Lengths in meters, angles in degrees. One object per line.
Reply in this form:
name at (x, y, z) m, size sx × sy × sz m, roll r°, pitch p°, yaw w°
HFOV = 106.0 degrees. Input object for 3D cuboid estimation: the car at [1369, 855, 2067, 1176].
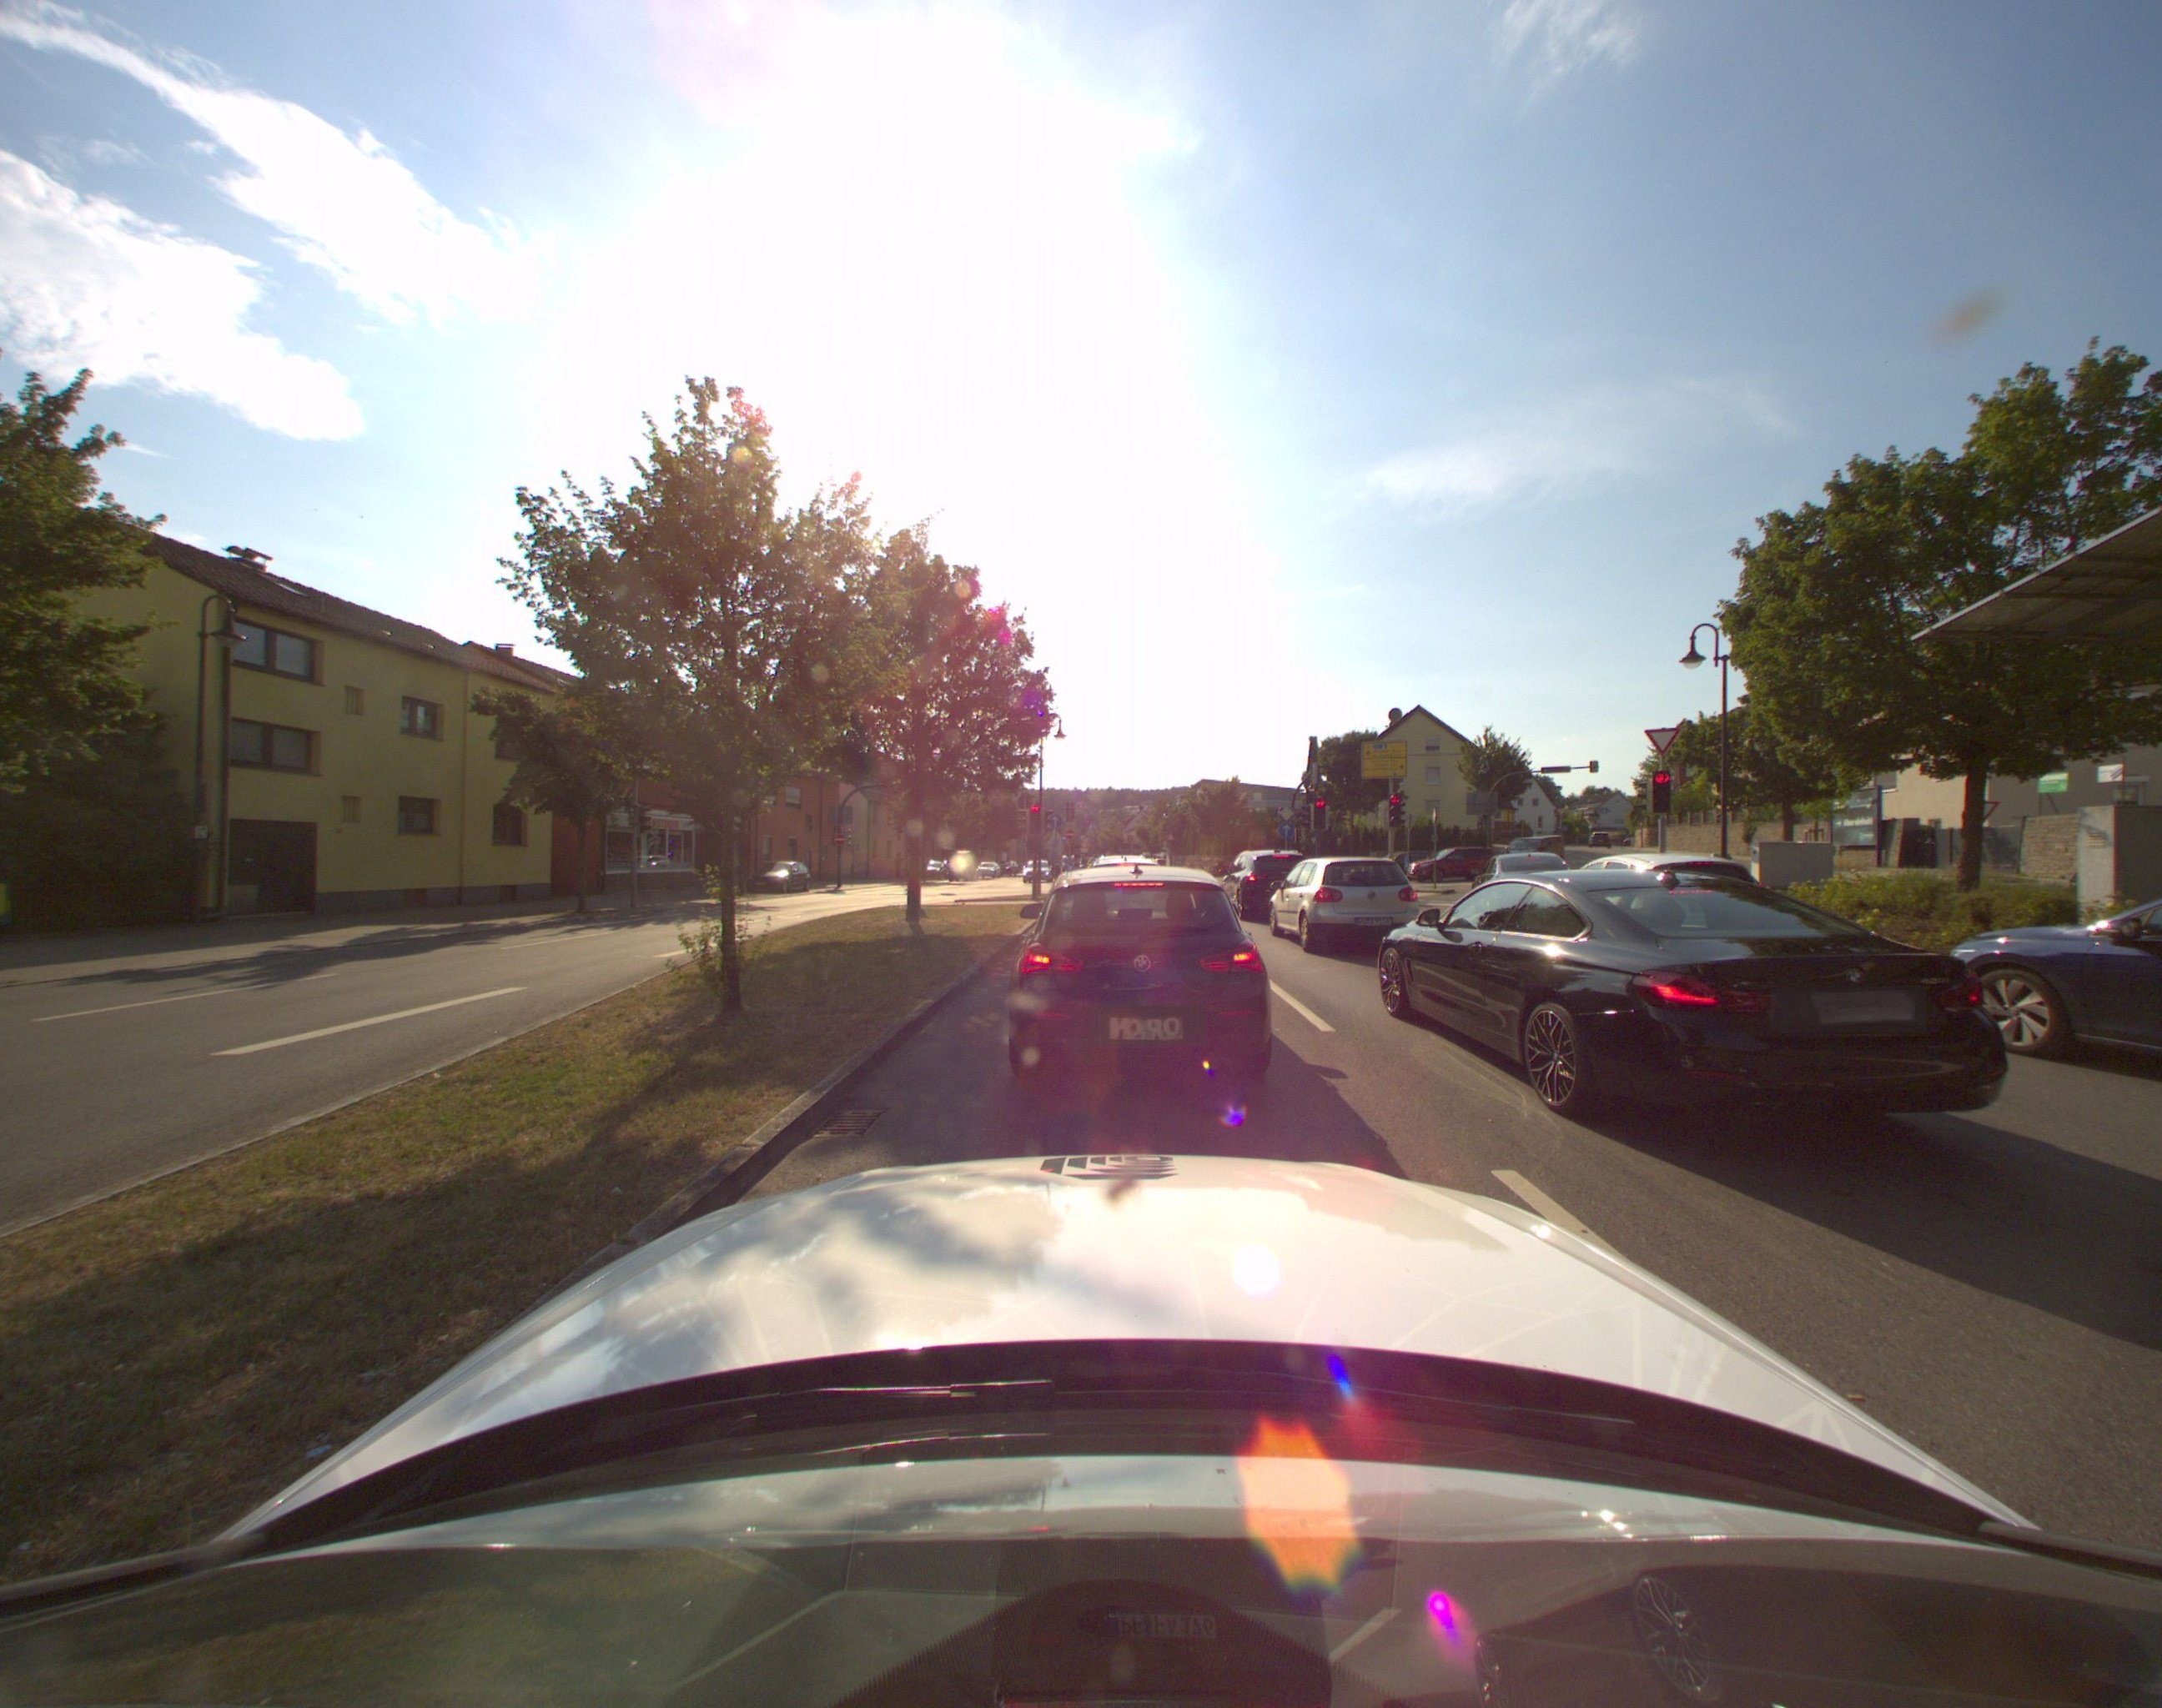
car at (3.626, 0.737, 5.825) m, size 1.755 × 1.397 × 4.283 m, roll -2°, pitch 0°, yaw 2°

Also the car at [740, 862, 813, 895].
car at (-14.132, 1.107, 38.034) m, size 1.730 × 1.301 × 4.002 m, roll 4°, pitch 0°, yaw 2°

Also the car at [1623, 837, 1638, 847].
car at (93.789, -2.071, 139.057) m, size 1.945 × 1.680 × 4.242 m, roll -2°, pitch 0°, yaw 33°

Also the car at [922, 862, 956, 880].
car at (-11.738, 1.416, 67.596) m, size 1.728 × 1.301 × 4.006 m, roll 4°, pitch 0°, yaw 6°

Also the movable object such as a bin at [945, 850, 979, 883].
movable object such as a bin at (-9.211, 0.964, 63.123) m, size 1.729 × 2.442 × 4.452 m, roll -1°, pitch 0°, yaw 3°

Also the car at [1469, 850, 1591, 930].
car at (9.888, 0.711, 18.240) m, size 1.642 × 1.542 × 4.420 m, roll -2°, pitch 0°, yaw 19°

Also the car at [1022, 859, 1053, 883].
car at (-2.946, 1.132, 55.688) m, size 1.832 × 1.482 × 4.001 m, roll -1°, pitch 0°, yaw 1°

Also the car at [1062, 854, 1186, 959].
car at (0.725, 0.777, 14.114) m, size 1.781 × 1.494 × 4.283 m, roll -2°, pitch 0°, yaw 2°

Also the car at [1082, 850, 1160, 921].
car at (1.027, 0.736, 21.153) m, size 1.781 × 1.594 × 4.283 m, roll -2°, pitch 0°, yaw 2°

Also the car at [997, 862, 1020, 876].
car at (-7.638, 1.605, 86.574) m, size 1.729 × 1.301 × 3.804 m, roll 4°, pitch 0°, yaw 5°

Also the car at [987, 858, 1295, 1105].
car at (0.448, 0.769, 6.969) m, size 1.781 × 1.397 × 4.283 m, roll -2°, pitch 0°, yaw 2°

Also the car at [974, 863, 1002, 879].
car at (-8.584, 1.513, 75.559) m, size 1.729 × 1.301 × 3.804 m, roll 4°, pitch 0°, yaw 5°

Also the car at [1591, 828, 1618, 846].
car at (52.680, -1.675, 82.013) m, size 1.946 × 1.680 × 4.241 m, roll -2°, pitch 0°, yaw 28°

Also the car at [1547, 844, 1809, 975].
car at (8.117, 0.668, 11.466) m, size 1.608 × 1.542 × 3.326 m, roll -2°, pitch 0°, yaw 9°

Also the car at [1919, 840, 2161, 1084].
car at (7.401, 0.650, 4.249) m, size 1.754 × 1.453 × 4.323 m, roll -2°, pitch 0°, yaw 4°

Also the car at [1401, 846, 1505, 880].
car at (18.549, 0.452, 40.695) m, size 4.410 × 1.641 × 1.845 m, roll 0°, pitch 0°, yaw -6°

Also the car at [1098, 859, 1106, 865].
car at (5.546, 2.108, 217.382) m, size 1.729 × 1.301 × 3.804 m, roll 4°, pitch 0°, yaw 5°

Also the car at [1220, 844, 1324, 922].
car at (4.575, 0.646, 20.047) m, size 1.755 × 1.656 × 3.905 m, roll -2°, pitch 0°, yaw 2°

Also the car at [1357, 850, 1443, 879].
car at (17.352, 0.567, 44.362) m, size 3.974 × 1.489 × 1.848 m, roll 0°, pitch 0°, yaw -1°

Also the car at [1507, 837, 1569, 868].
car at (26.843, -0.092, 47.767) m, size 4.811 × 1.739 × 1.826 m, roll 0°, pitch 0°, yaw -43°

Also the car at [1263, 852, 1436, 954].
car at (4.328, 0.713, 13.765) m, size 1.755 × 1.426 × 3.905 m, roll -2°, pitch 0°, yaw 2°

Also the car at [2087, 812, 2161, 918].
car at (18.500, 0.157, 12.387) m, size 3.793 × 1.632 × 1.784 m, roll 0°, pitch 0°, yaw 10°
